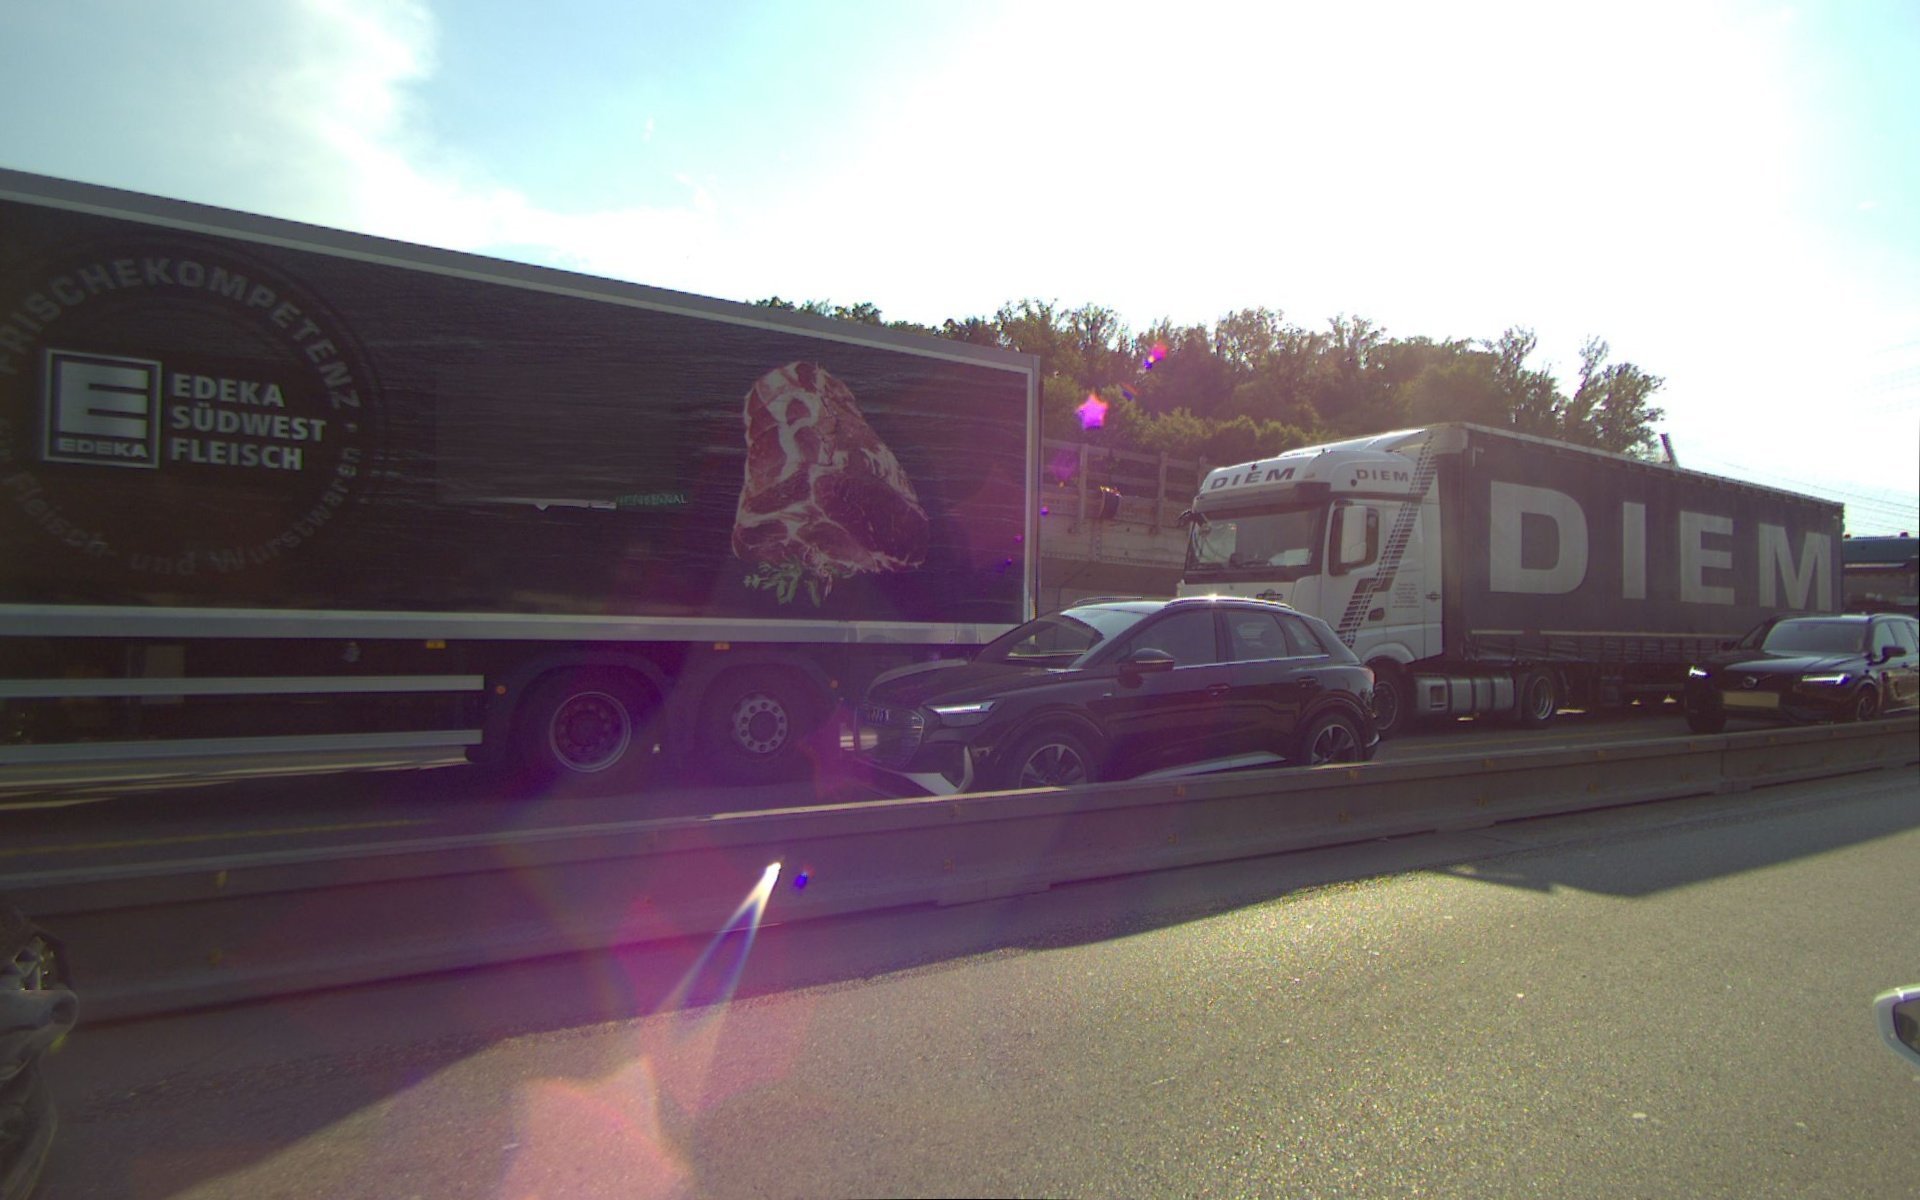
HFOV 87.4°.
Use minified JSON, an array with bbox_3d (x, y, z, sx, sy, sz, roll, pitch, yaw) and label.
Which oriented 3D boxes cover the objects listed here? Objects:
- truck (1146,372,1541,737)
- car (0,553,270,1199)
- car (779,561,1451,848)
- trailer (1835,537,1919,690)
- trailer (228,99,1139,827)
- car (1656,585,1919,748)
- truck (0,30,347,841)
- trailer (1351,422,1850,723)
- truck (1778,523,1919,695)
[{"bbox_3d":[5.380,-0.418,13.973,4.976,4.169,2.734,2,-2,-33],"label":"truck"},{"bbox_3d":[-3.799,0.618,0.787,5.160,1.500,1.931,2,-2,-30],"label":"car"},{"bbox_3d":[1.428,0.723,7.919,5.309,1.626,1.867,3,-3,-32],"label":"car"},{"bbox_3d":[30.700,0.617,29.922,15.874,3.866,2.733,2,-2,-33],"label":"trailer"},{"bbox_3d":[-2.098,-0.730,9.275,7.068,4.525,2.898,2,0,-30],"label":"trailer"},{"bbox_3d":[12.116,0.927,14.306,4.845,1.989,1.823,3,-2,-32],"label":"car"},{"bbox_3d":[-6.983,-0.970,6.441,4.969,4.574,2.905,2,-1,-30],"label":"truck"},{"bbox_3d":[12.241,-0.152,18.359,12.355,4.177,2.700,2,-2,-32],"label":"trailer"},{"bbox_3d":[23.724,0.339,25.375,7.035,3.855,2.733,2,-2,-33],"label":"truck"}]
